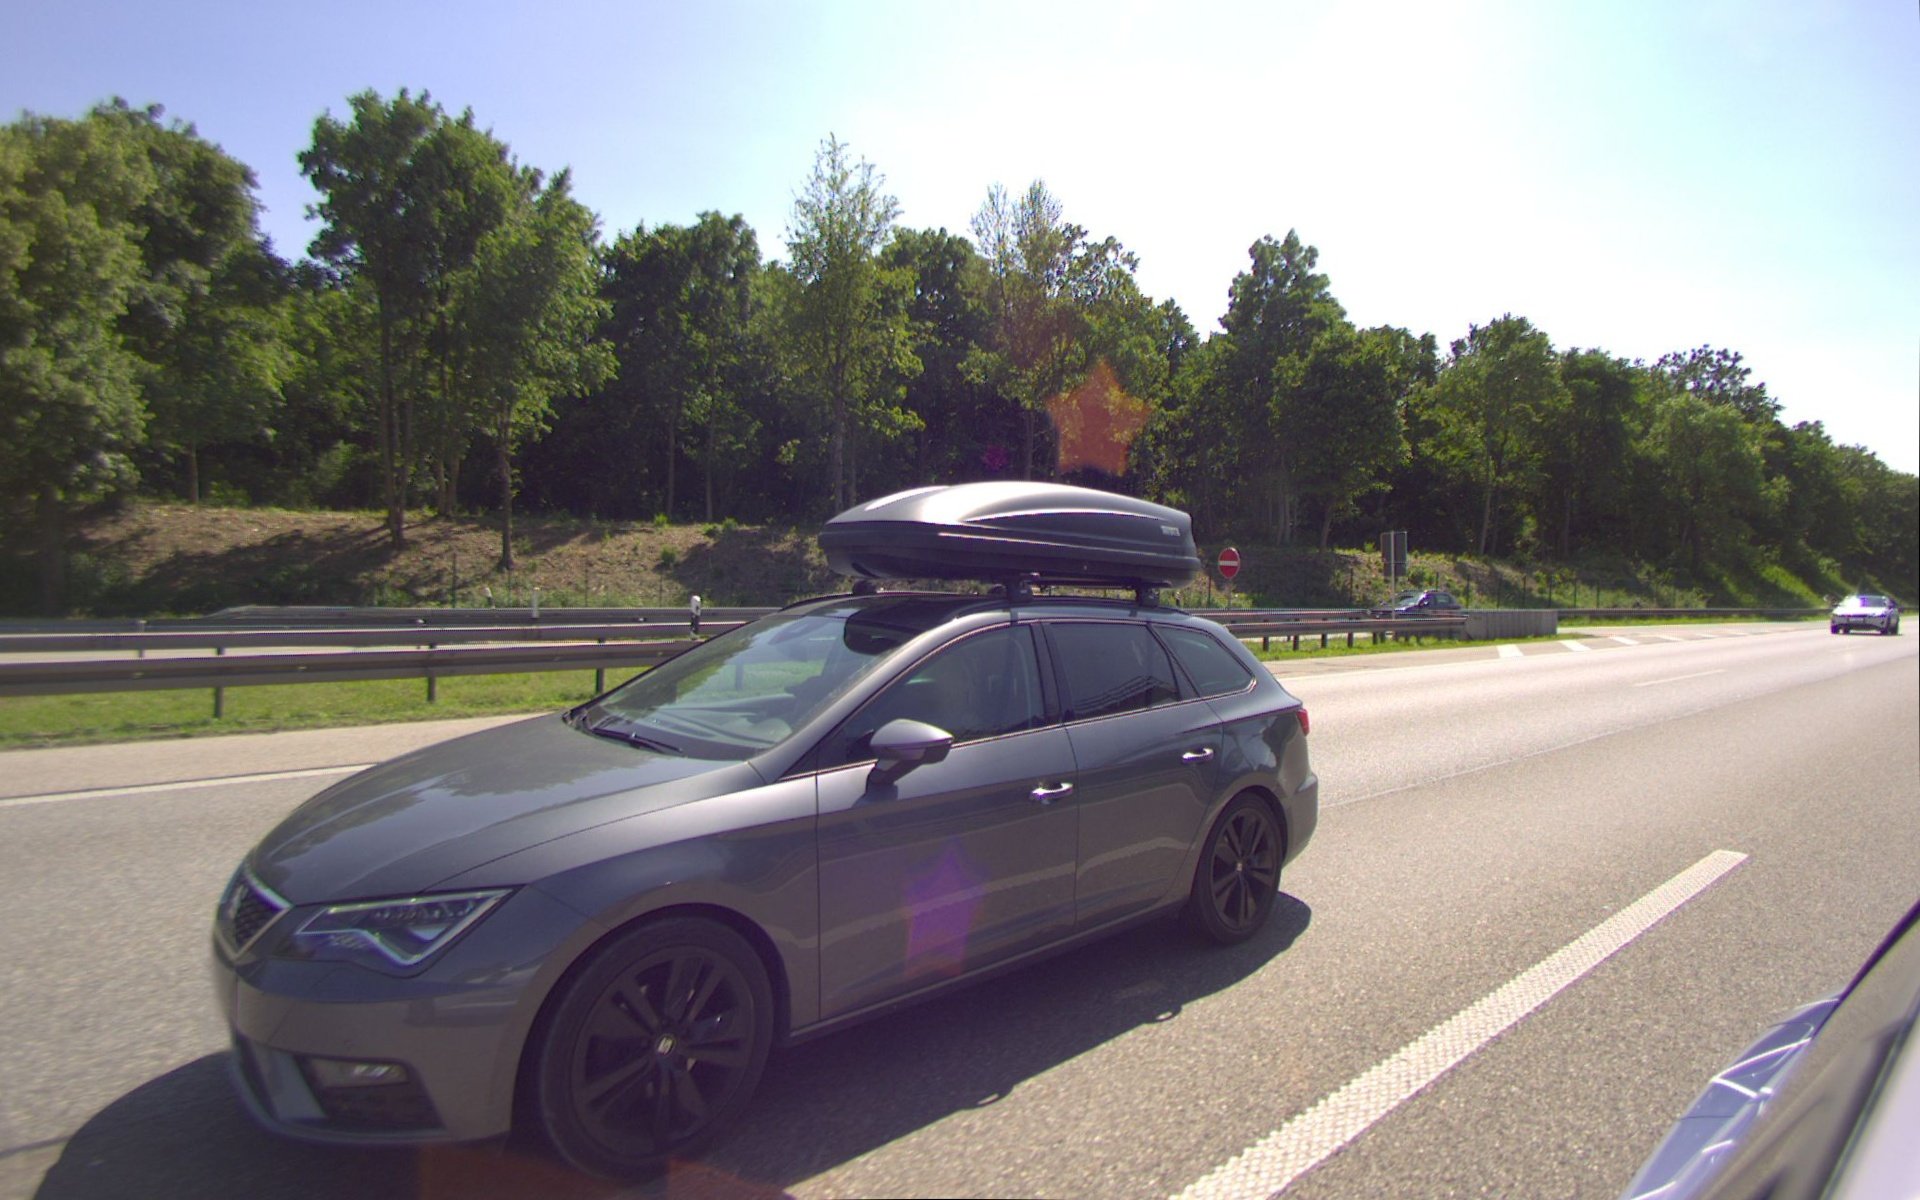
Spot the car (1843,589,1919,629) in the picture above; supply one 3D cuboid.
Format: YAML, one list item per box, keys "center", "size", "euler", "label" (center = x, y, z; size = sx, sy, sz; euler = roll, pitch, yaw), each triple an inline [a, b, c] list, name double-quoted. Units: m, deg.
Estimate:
- center: [38.611, 0.359, 42.385]
  size: [3.963, 1.588, 1.847]
  euler: [0, 0, -40]
  label: "car"

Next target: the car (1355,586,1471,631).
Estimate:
- center: [16.705, 0.294, 37.321]
  size: [4.172, 1.588, 1.773]
  euler: [0, 0, -29]
  label: "car"

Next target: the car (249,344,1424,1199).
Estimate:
- center: [0.036, 0.409, 4.222]
  size: [4.744, 1.899, 1.668]
  euler: [0, 2, -42]
  label: "car"
